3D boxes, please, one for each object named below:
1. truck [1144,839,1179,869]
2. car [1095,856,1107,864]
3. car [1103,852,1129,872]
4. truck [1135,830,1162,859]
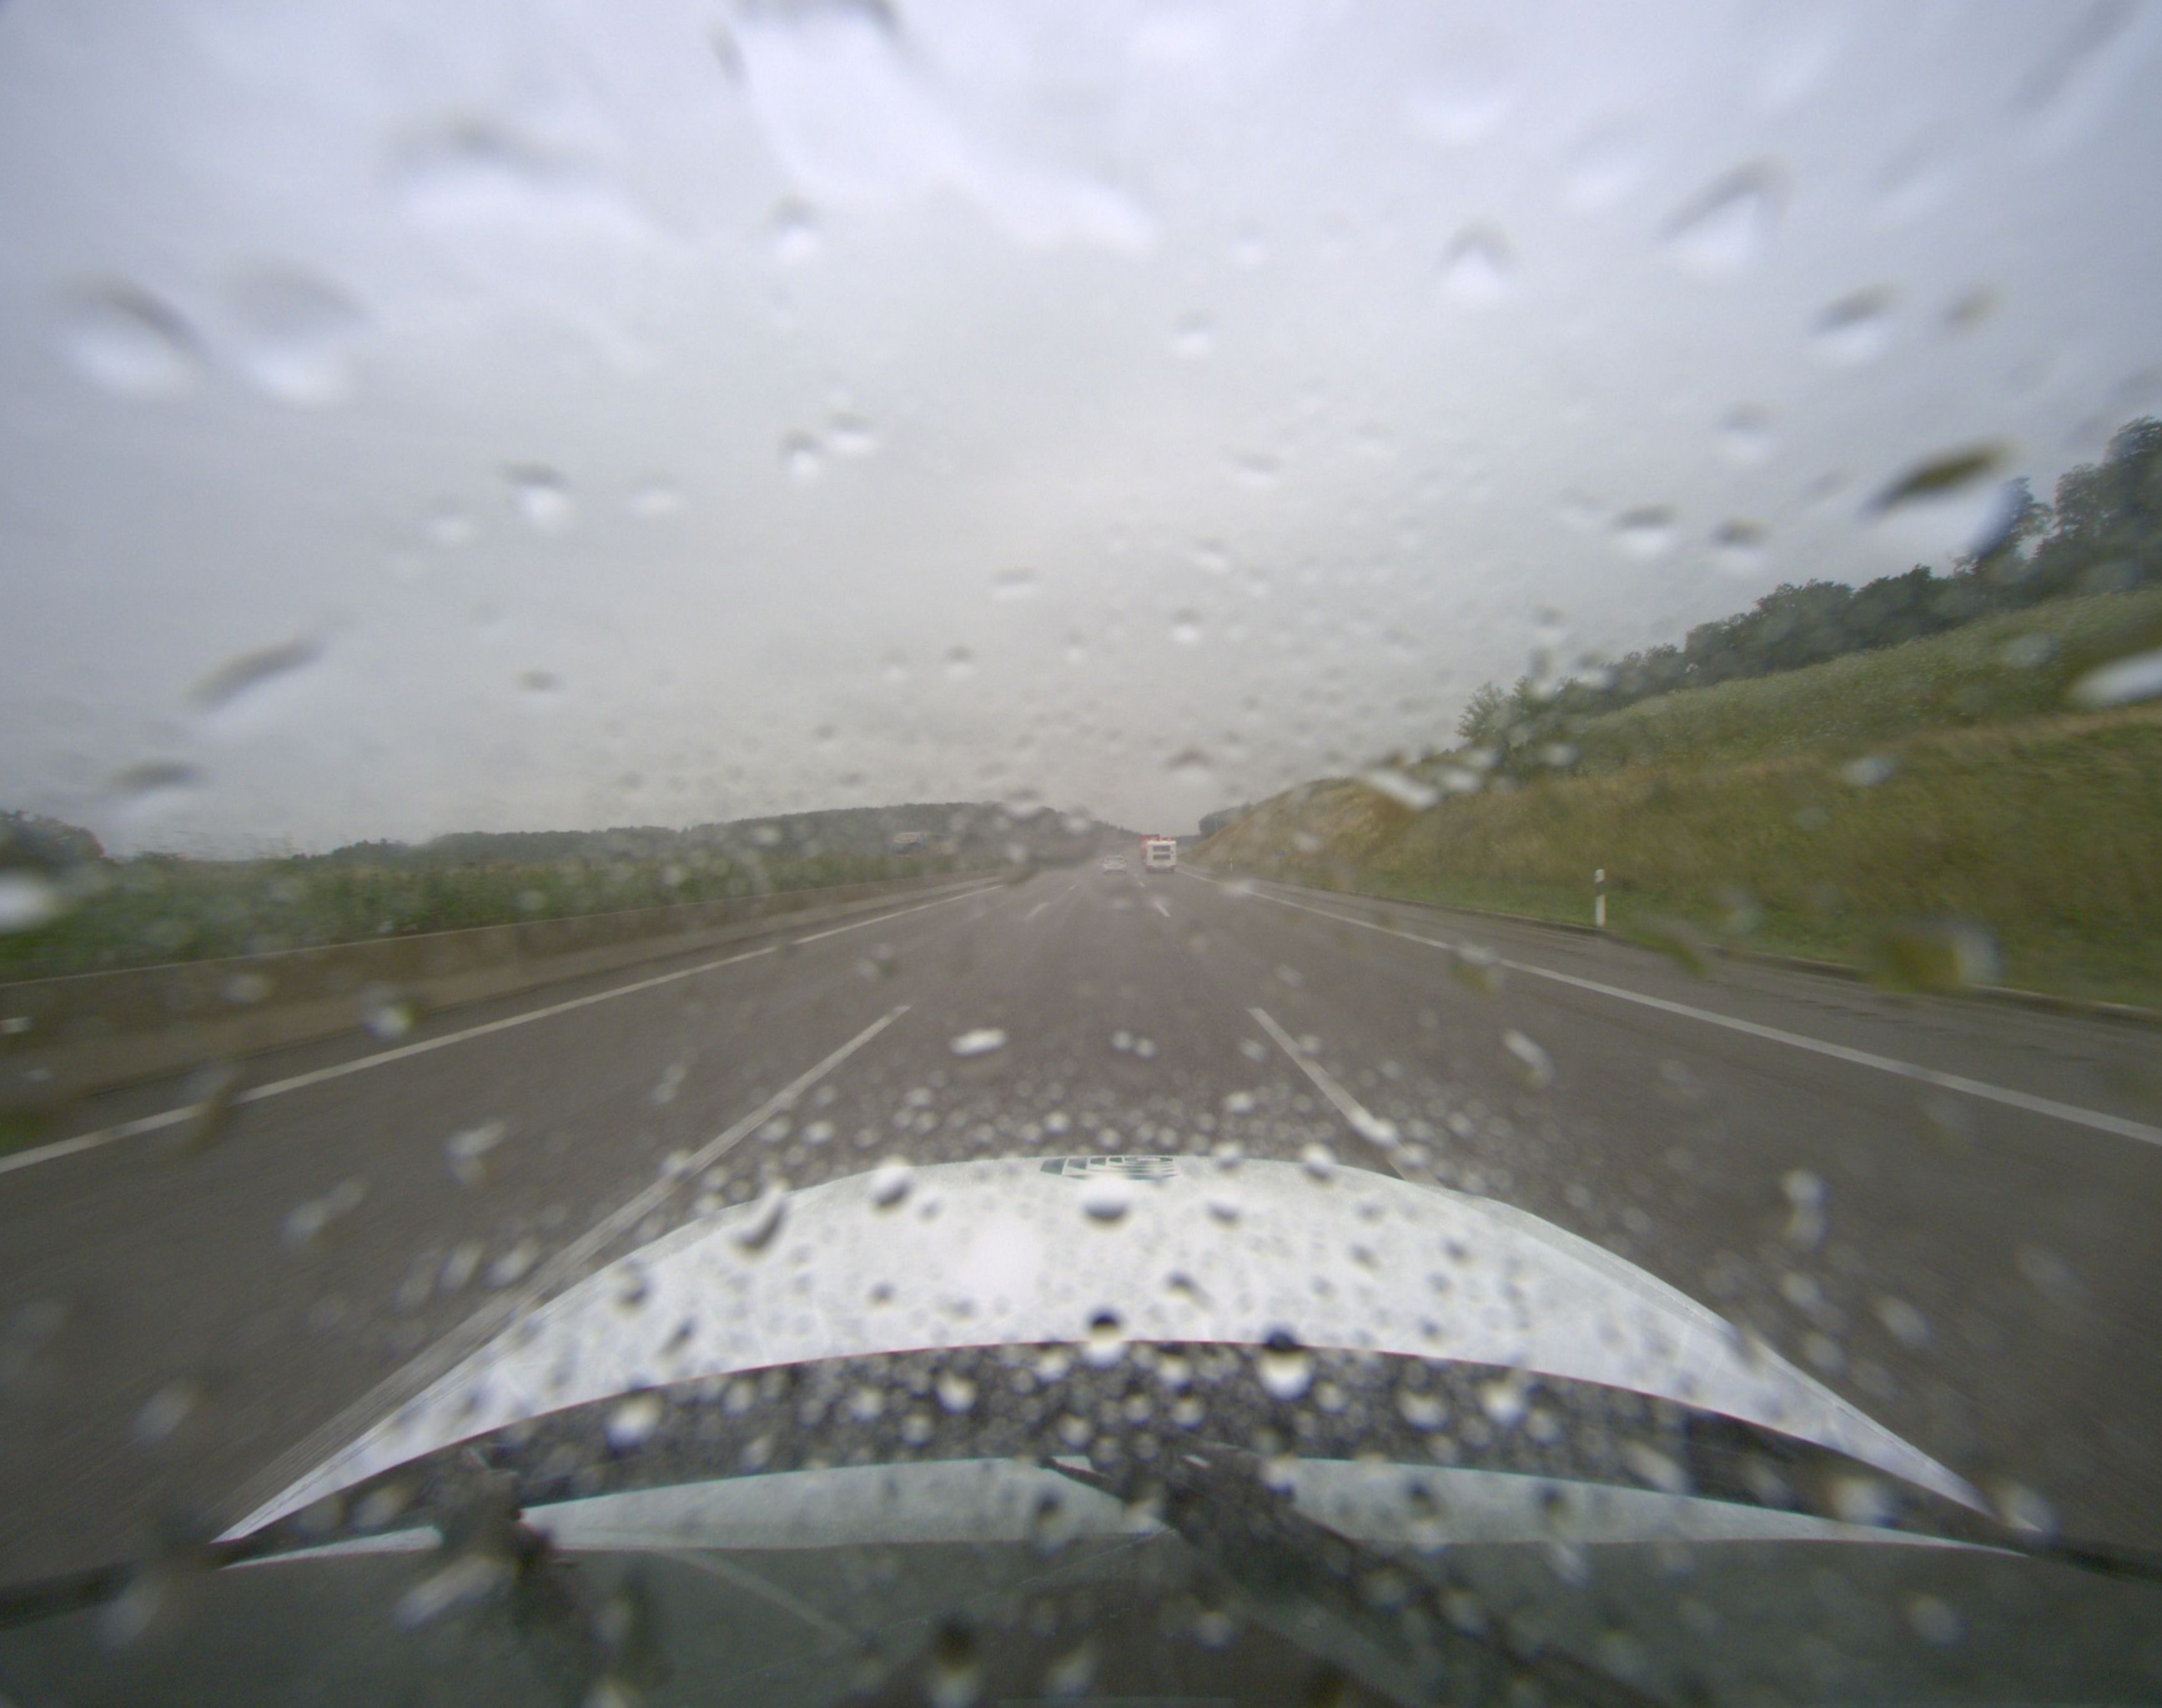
[{"bbox_3d":[6.341,0.035,64.527,2.399,2.252,4.693,-1,0,1],"label":"truck"},{"bbox_3d":[3.148,0.928,125.280,1.817,1.156,4.214,-1,-1,1],"label":"car"},{"bbox_3d":[2.621,0.618,61.861,1.861,1.463,4.000,-1,-1,1],"label":"car"},{"bbox_3d":[9.437,-1.270,112.915,3.510,3.742,11.442,-1,1,5],"label":"truck"}]
